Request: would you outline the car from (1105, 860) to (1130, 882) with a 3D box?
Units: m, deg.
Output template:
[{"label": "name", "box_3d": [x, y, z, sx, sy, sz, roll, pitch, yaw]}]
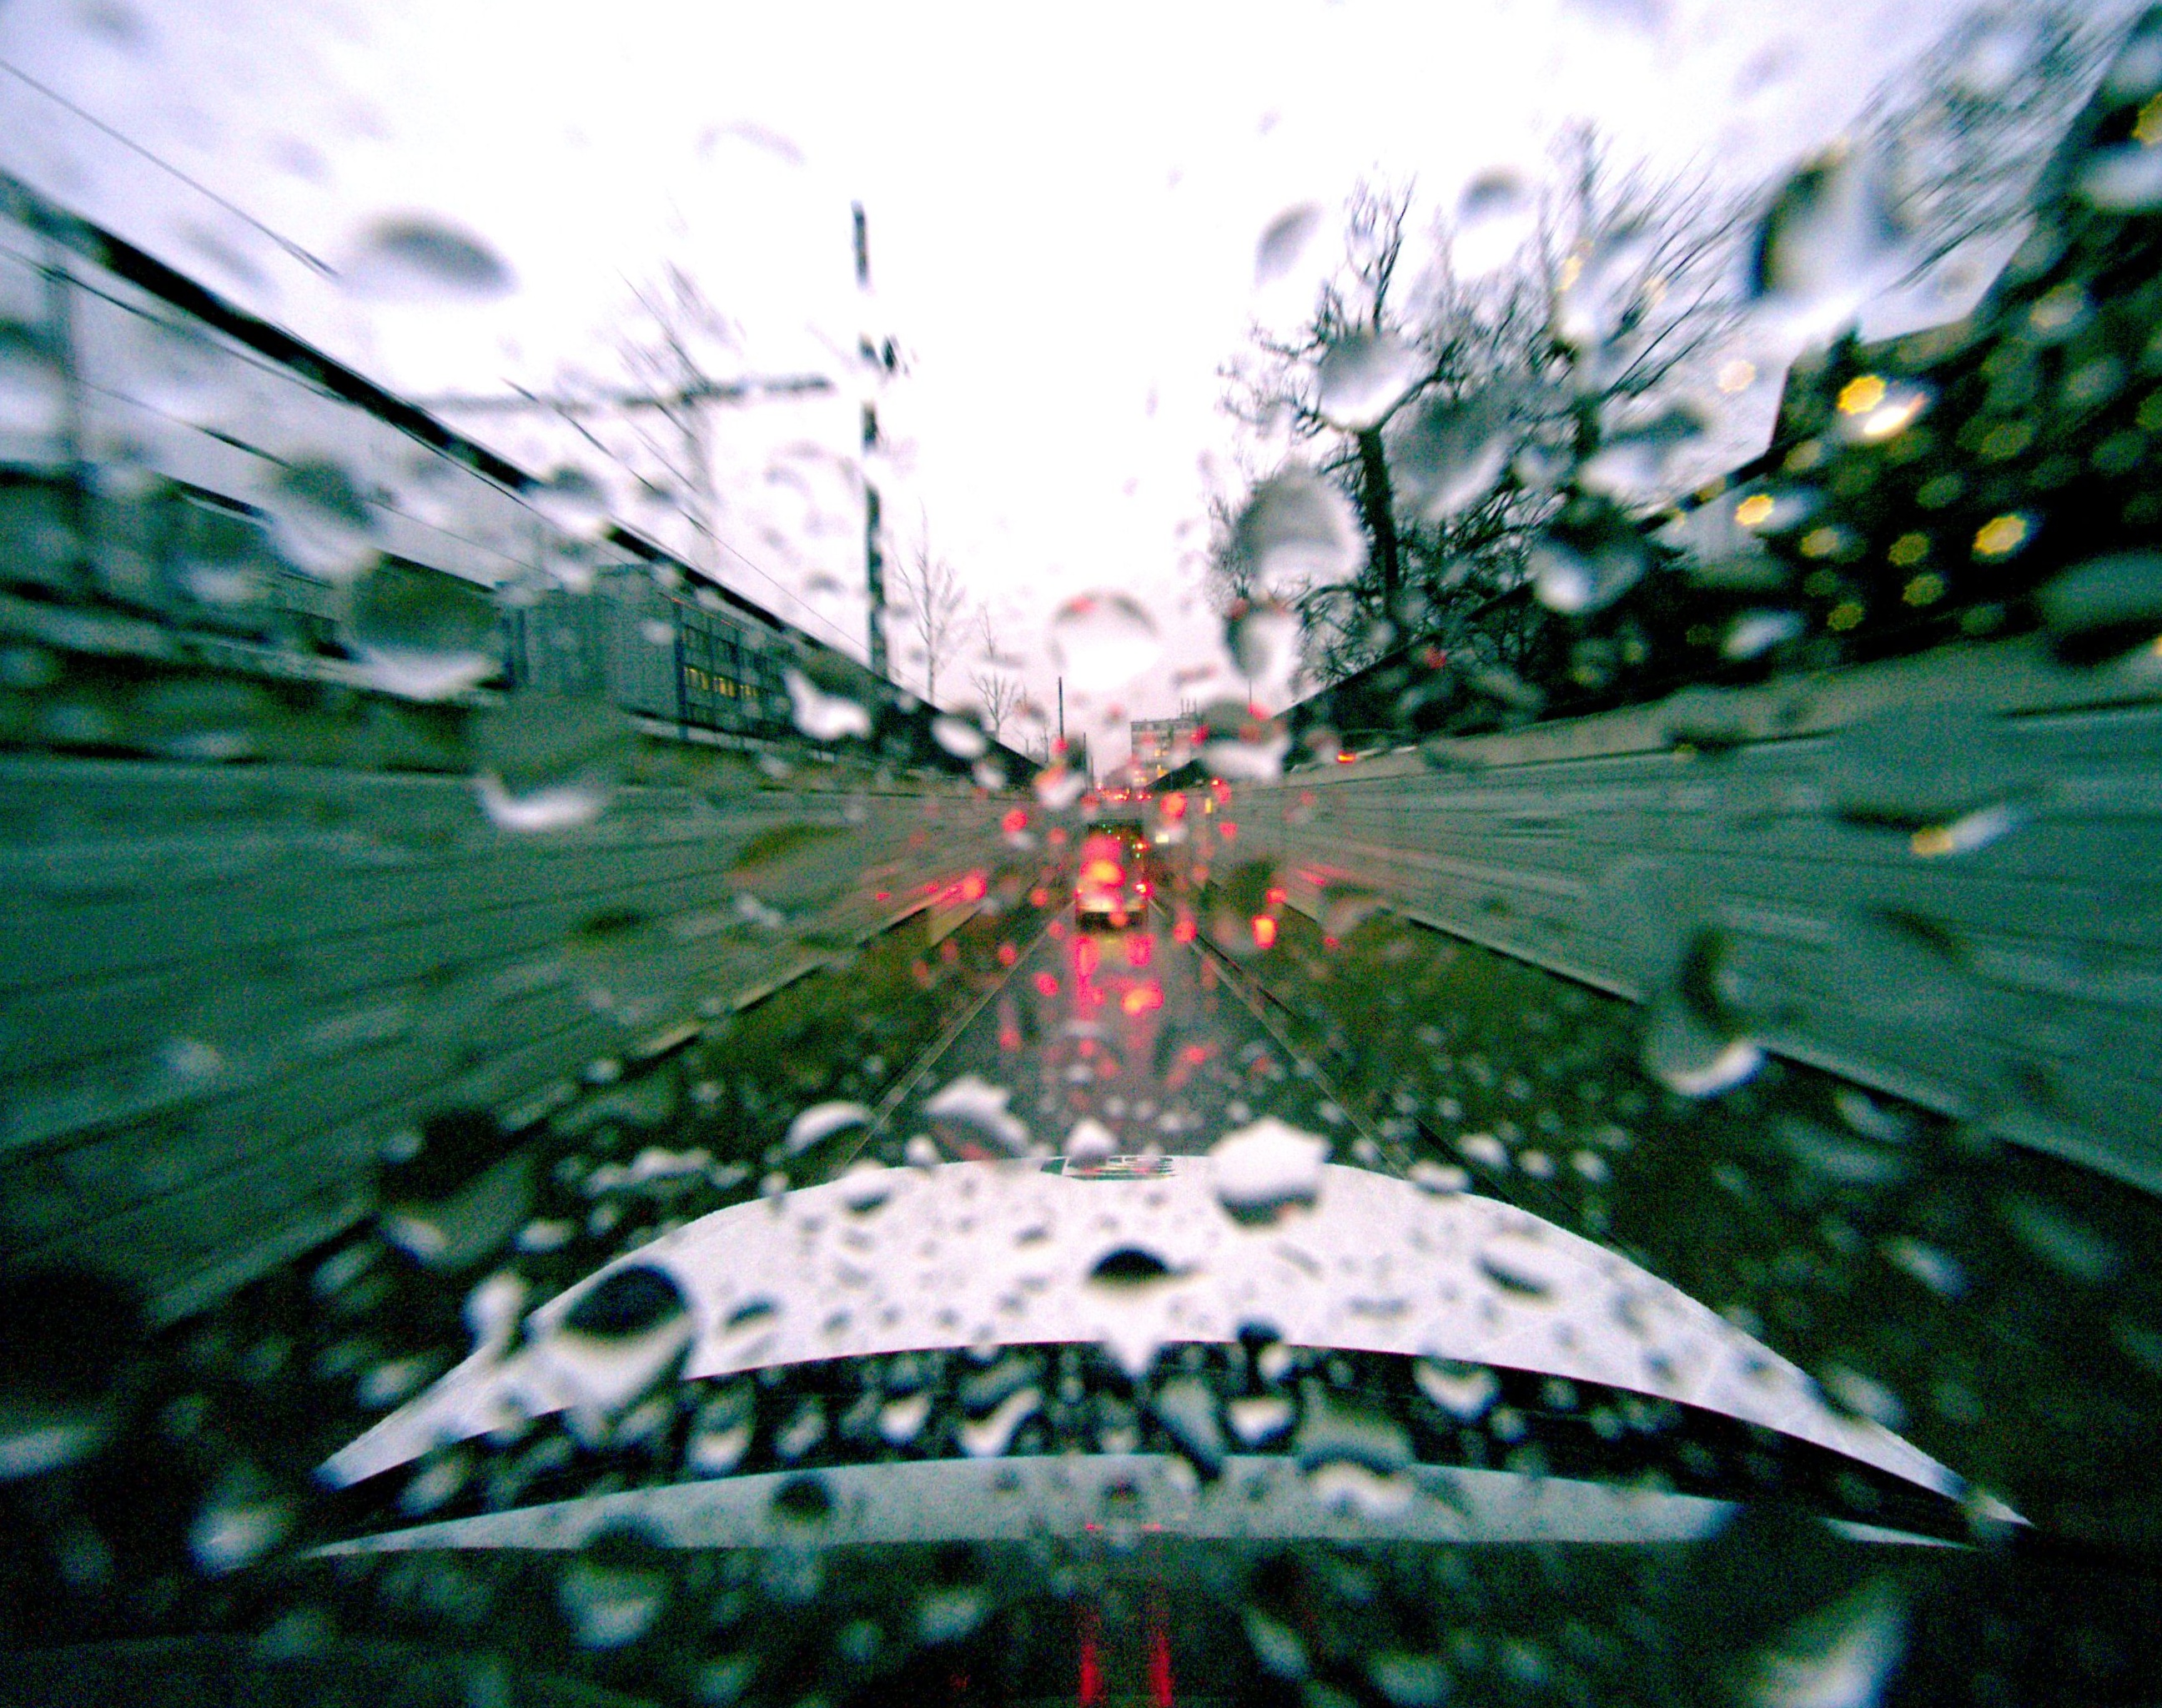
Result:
[{"label": "car", "box_3d": [2.966, 1.334, 66.250, 1.913, 1.485, 4.002, 0, 3, 1]}]

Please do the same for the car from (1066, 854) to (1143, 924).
[{"label": "car", "box_3d": [0.659, 0.785, 20.186, 1.715, 1.479, 4.005, 0, 1, 4]}]

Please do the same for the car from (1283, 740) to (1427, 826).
[{"label": "car", "box_3d": [5.212, -1.319, 16.013, 1.715, 1.479, 4.006, 0, 3, 4]}]
